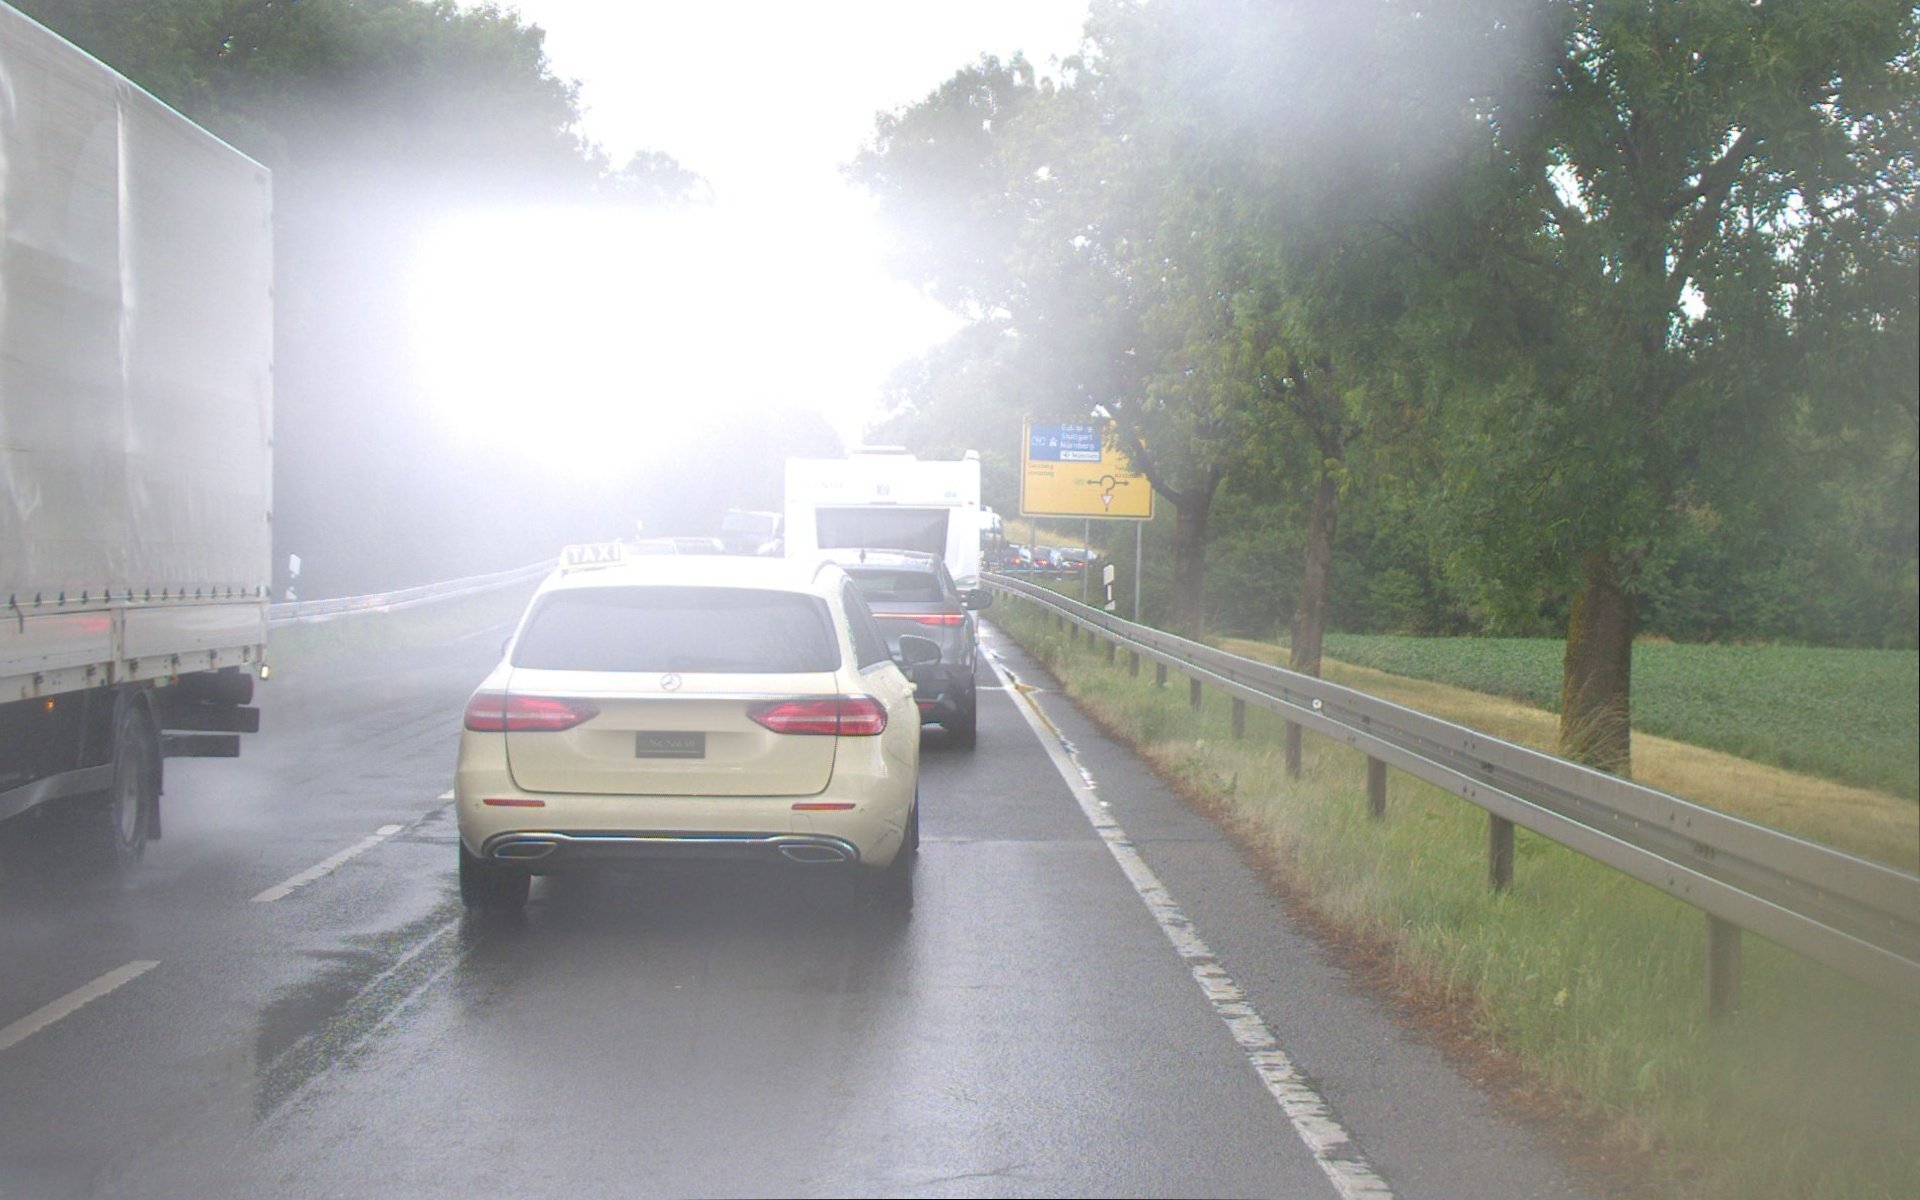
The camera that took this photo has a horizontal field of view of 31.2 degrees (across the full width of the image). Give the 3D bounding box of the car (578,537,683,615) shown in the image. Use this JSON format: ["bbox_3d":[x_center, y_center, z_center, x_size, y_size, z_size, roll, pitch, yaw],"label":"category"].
[{"bbox_3d":[-6.344,-0.490,66.505,1.714,1.446,4.111,1,1,-1],"label":"car"}]

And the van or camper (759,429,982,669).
[{"bbox_3d":[-0.999,-0.630,42.007,2.489,2.676,5.700,1,1,0],"label":"van or camper"}]

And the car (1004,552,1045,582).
[{"bbox_3d":[2.496,-1.294,133.528,1.551,1.114,4.000,1,1,0],"label":"car"}]

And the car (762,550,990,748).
[{"bbox_3d":[-0.600,0.327,27.164,1.664,1.426,4.000,0,1,0],"label":"car"}]

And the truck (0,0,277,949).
[{"bbox_3d":[-4.751,-0.498,13.387,2.576,3.440,9.557,0,1,-2],"label":"truck"}]

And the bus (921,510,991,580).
[{"bbox_3d":[-0.136,-1.614,100.173,1.993,2.007,4.000,0,1,-1],"label":"bus"}]

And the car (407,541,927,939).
[{"bbox_3d":[-1.116,0.490,14.848,1.865,1.471,4.000,0,1,0],"label":"car"}]

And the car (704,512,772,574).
[{"bbox_3d":[-6.665,-1.719,103.394,1.828,1.796,4.415,0,1,-1],"label":"car"}]
